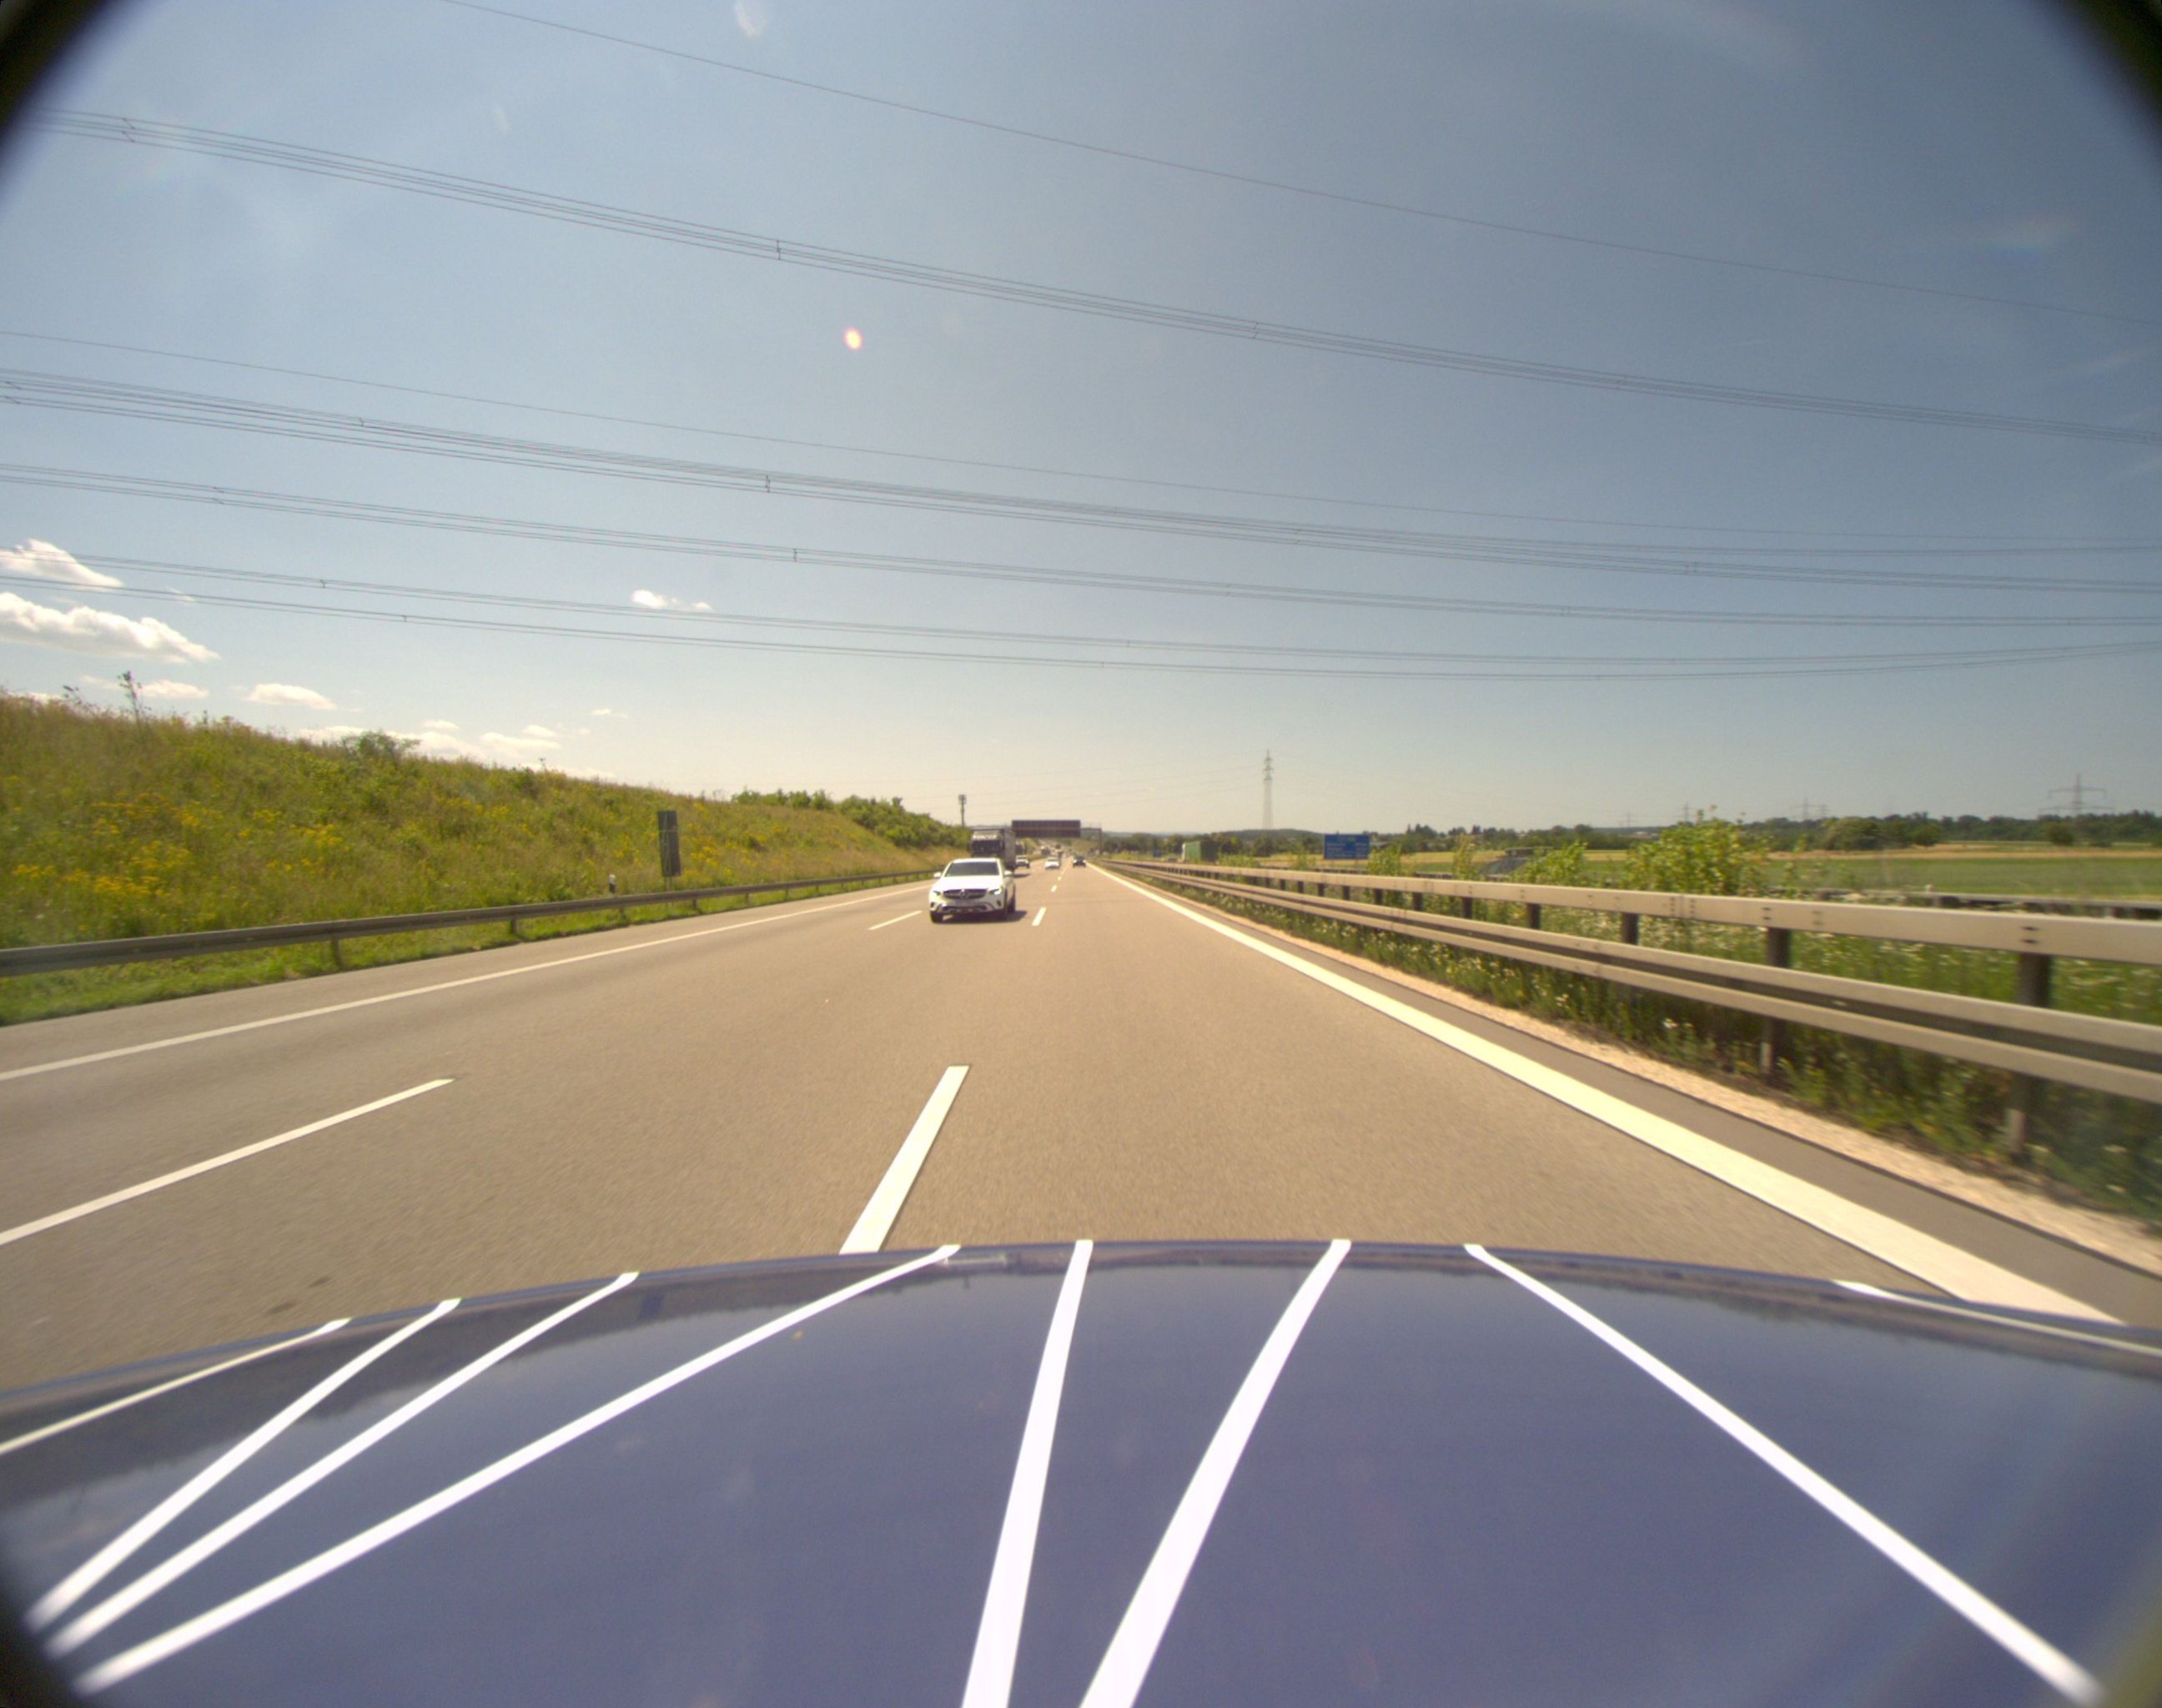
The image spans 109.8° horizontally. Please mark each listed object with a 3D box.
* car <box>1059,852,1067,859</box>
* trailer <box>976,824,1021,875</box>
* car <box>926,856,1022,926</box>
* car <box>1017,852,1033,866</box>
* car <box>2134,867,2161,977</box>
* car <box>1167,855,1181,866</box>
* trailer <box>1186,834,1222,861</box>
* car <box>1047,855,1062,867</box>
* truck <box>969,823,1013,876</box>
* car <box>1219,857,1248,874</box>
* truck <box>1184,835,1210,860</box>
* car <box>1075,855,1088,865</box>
[{"bbox_3d":[-4.067,0.353,173.276,1.751,1.559,3.999,-2,1,-2],"label":"car"},{"bbox_3d":[-7.352,-0.448,69.105,2.732,4.131,11.805,-1,1,0],"label":"trailer"},{"bbox_3d":[-2.791,0.913,21.021,1.919,1.571,5.229,-2,1,-1],"label":"car"},{"bbox_3d":[-8.124,0.715,109.872,2.040,1.794,4.249,-2,0,-1],"label":"car"},{"bbox_3d":[17.698,1.060,10.126,1.827,1.683,4.000,-2,1,1],"label":"car"},{"bbox_3d":[13.759,0.930,112.507,1.638,1.456,4.000,1,0,0],"label":"car"},{"bbox_3d":[17.478,-0.913,108.494,2.761,3.573,12.533,-2,1,-1],"label":"trailer"},{"bbox_3d":[-3.320,0.850,97.223,1.780,1.425,4.690,-2,1,-1],"label":"car"},{"bbox_3d":[-7.296,-0.366,62.339,2.759,3.997,6.787,-2,1,-1],"label":"truck"},{"bbox_3d":[13.767,0.985,68.620,1.728,1.425,3.999,1,0,-1],"label":"car"},{"bbox_3d":[17.361,-0.962,114.179,2.730,3.539,5.899,-2,1,-1],"label":"truck"},{"bbox_3d":[0.059,0.842,107.729,1.751,1.439,3.999,-1,0,-2],"label":"car"}]
